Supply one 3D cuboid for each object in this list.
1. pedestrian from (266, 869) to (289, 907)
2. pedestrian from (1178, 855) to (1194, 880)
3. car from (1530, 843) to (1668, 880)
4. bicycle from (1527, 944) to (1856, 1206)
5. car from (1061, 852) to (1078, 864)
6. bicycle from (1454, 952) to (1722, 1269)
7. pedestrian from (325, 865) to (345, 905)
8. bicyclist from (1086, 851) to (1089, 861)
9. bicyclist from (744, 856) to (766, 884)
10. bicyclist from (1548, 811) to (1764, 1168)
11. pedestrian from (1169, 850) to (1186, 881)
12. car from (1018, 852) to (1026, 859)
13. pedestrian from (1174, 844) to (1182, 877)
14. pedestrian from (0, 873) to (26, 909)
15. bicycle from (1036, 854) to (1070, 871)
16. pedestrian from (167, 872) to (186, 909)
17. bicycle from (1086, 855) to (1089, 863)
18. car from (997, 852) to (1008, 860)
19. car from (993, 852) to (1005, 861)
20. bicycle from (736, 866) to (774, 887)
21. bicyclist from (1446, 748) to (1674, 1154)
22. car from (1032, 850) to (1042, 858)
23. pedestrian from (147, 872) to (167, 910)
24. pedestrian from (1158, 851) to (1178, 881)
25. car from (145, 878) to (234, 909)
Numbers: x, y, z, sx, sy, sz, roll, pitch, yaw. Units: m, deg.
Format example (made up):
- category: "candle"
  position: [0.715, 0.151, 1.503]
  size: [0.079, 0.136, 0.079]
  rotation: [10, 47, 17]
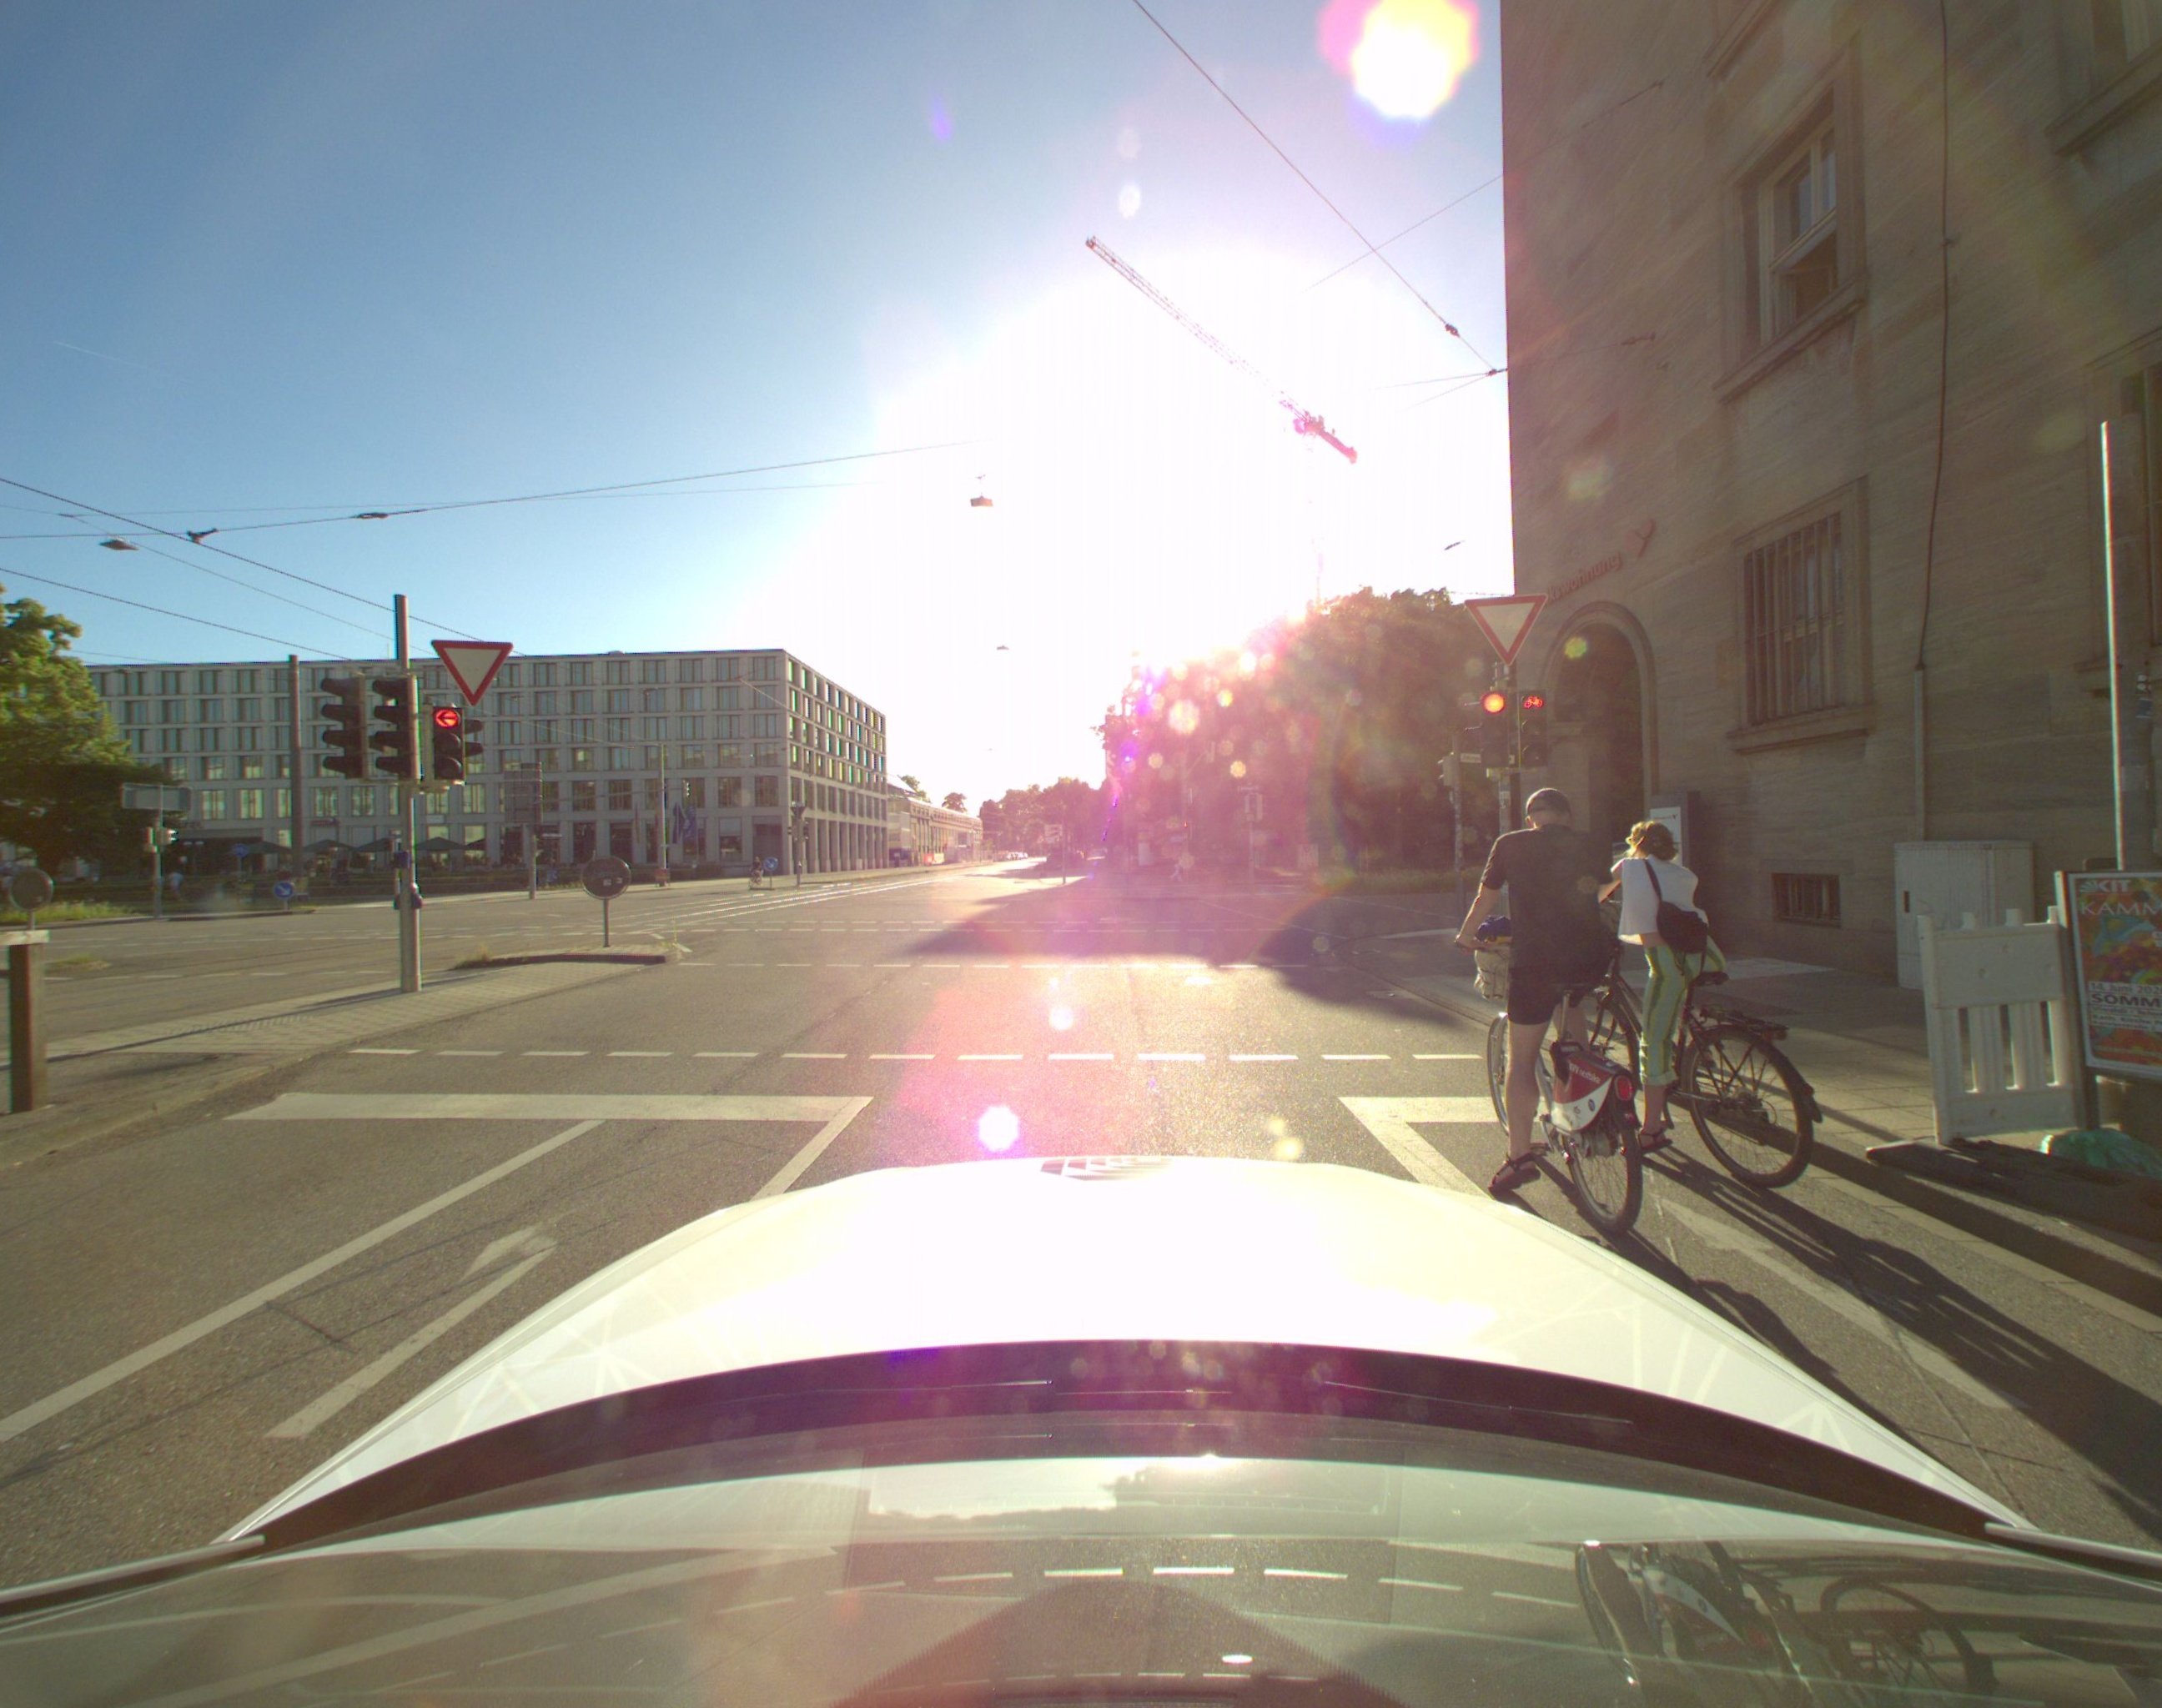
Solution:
- category: "pedestrian"
  position: [-44.066, 1.854, 44.671]
  size: [0.648, 2.068, 0.649]
  rotation: [-2, -2, -5]
- category: "pedestrian"
  position: [5.552, 0.709, 43.127]
  size: [0.749, 1.332, 0.743]
  rotation: [-2, 0, 1]
- category: "car"
  position: [20.901, 0.289, 33.007]
  size: [4.422, 1.329, 1.778]
  rotation: [-2, 0, 4]
- category: "bicycle"
  position: [3.093, 1.036, 4.389]
  size: [0.424, 0.876, 1.953]
  rotation: [-2, 0, 5]
- category: "car"
  position: [-1.292, 0.426, 92.621]
  size: [1.814, 1.279, 3.999]
  rotation: [-2, 0, 0]
- category: "bicycle"
  position: [2.290, 1.048, 3.941]
  size: [0.387, 0.905, 1.956]
  rotation: [-2, 0, 10]
- category: "pedestrian"
  position: [-42.351, 1.755, 46.251]
  size: [0.568, 2.280, 0.533]
  rotation: [-2, 0, -5]
- category: "bicyclist"
  position: [0.786, 0.232, 98.551]
  size: [0.316, 1.127, 0.292]
  rotation: [-2, 0, 7]
- category: "bicyclist"
  position: [-19.330, 0.930, 48.317]
  size: [0.872, 1.641, 0.822]
  rotation: [-2, 0, 3]
- category: "bicyclist"
  position: [2.961, 0.642, 4.277]
  size: [0.519, 1.679, 0.860]
  rotation: [-2, 0, 5]
- category: "pedestrian"
  position: [5.190, 0.617, 43.816]
  size: [0.792, 1.639, 0.534]
  rotation: [-2, 0, 4]
- category: "car"
  position: [-14.042, 0.310, 194.940]
  size: [1.478, 1.750, 4.002]
  rotation: [-2, 0, 2]
- category: "pedestrian"
  position: [5.288, 0.357, 44.323]
  size: [0.358, 1.804, 0.508]
  rotation: [-2, 0, 14]
- category: "pedestrian"
  position: [-58.090, 2.006, 44.258]
  size: [0.557, 1.903, 0.684]
  rotation: [-2, 0, 10]
- category: "bicycle"
  position: [-2.325, 0.720, 67.354]
  size: [2.728, 1.367, 0.633]
  rotation: [-1, -1, 12]
- category: "pedestrian"
  position: [-49.647, 1.986, 44.725]
  size: [0.490, 2.013, 0.493]
  rotation: [-2, 0, 14]
- category: "bicycle"
  position: [0.819, 0.602, 98.705]
  size: [0.323, 0.868, 1.484]
  rotation: [-2, 0, 2]
- category: "car"
  position: [-15.472, 0.390, 160.703]
  size: [1.724, 1.653, 4.002]
  rotation: [-2, 0, 2]
- category: "car"
  position: [-15.688, 0.433, 156.604]
  size: [1.724, 1.653, 4.002]
  rotation: [-2, 0, 2]
- category: "bicycle"
  position: [-19.306, 1.324, 48.345]
  size: [0.872, 1.121, 3.015]
  rotation: [-2, 0, 3]
- category: "bicyclist"
  position: [2.150, 0.409, 3.745]
  size: [0.666, 1.678, 0.658]
  rotation: [-2, 0, 9]
- category: "car"
  position: [-10.773, 0.056, 199.861]
  size: [1.986, 2.014, 4.001]
  rotation: [0, -1, 2]
- category: "pedestrian"
  position: [-49.689, 1.979, 43.786]
  size: [0.490, 2.013, 0.493]
  rotation: [-2, 0, 14]
- category: "pedestrian"
  position: [4.607, 0.632, 43.183]
  size: [0.980, 1.587, 0.661]
  rotation: [-2, -1, 3]
- category: "car"
  position: [-46.893, 2.063, 42.864]
  size: [3.170, 1.438, 1.473]
  rotation: [-2, 0, 4]
